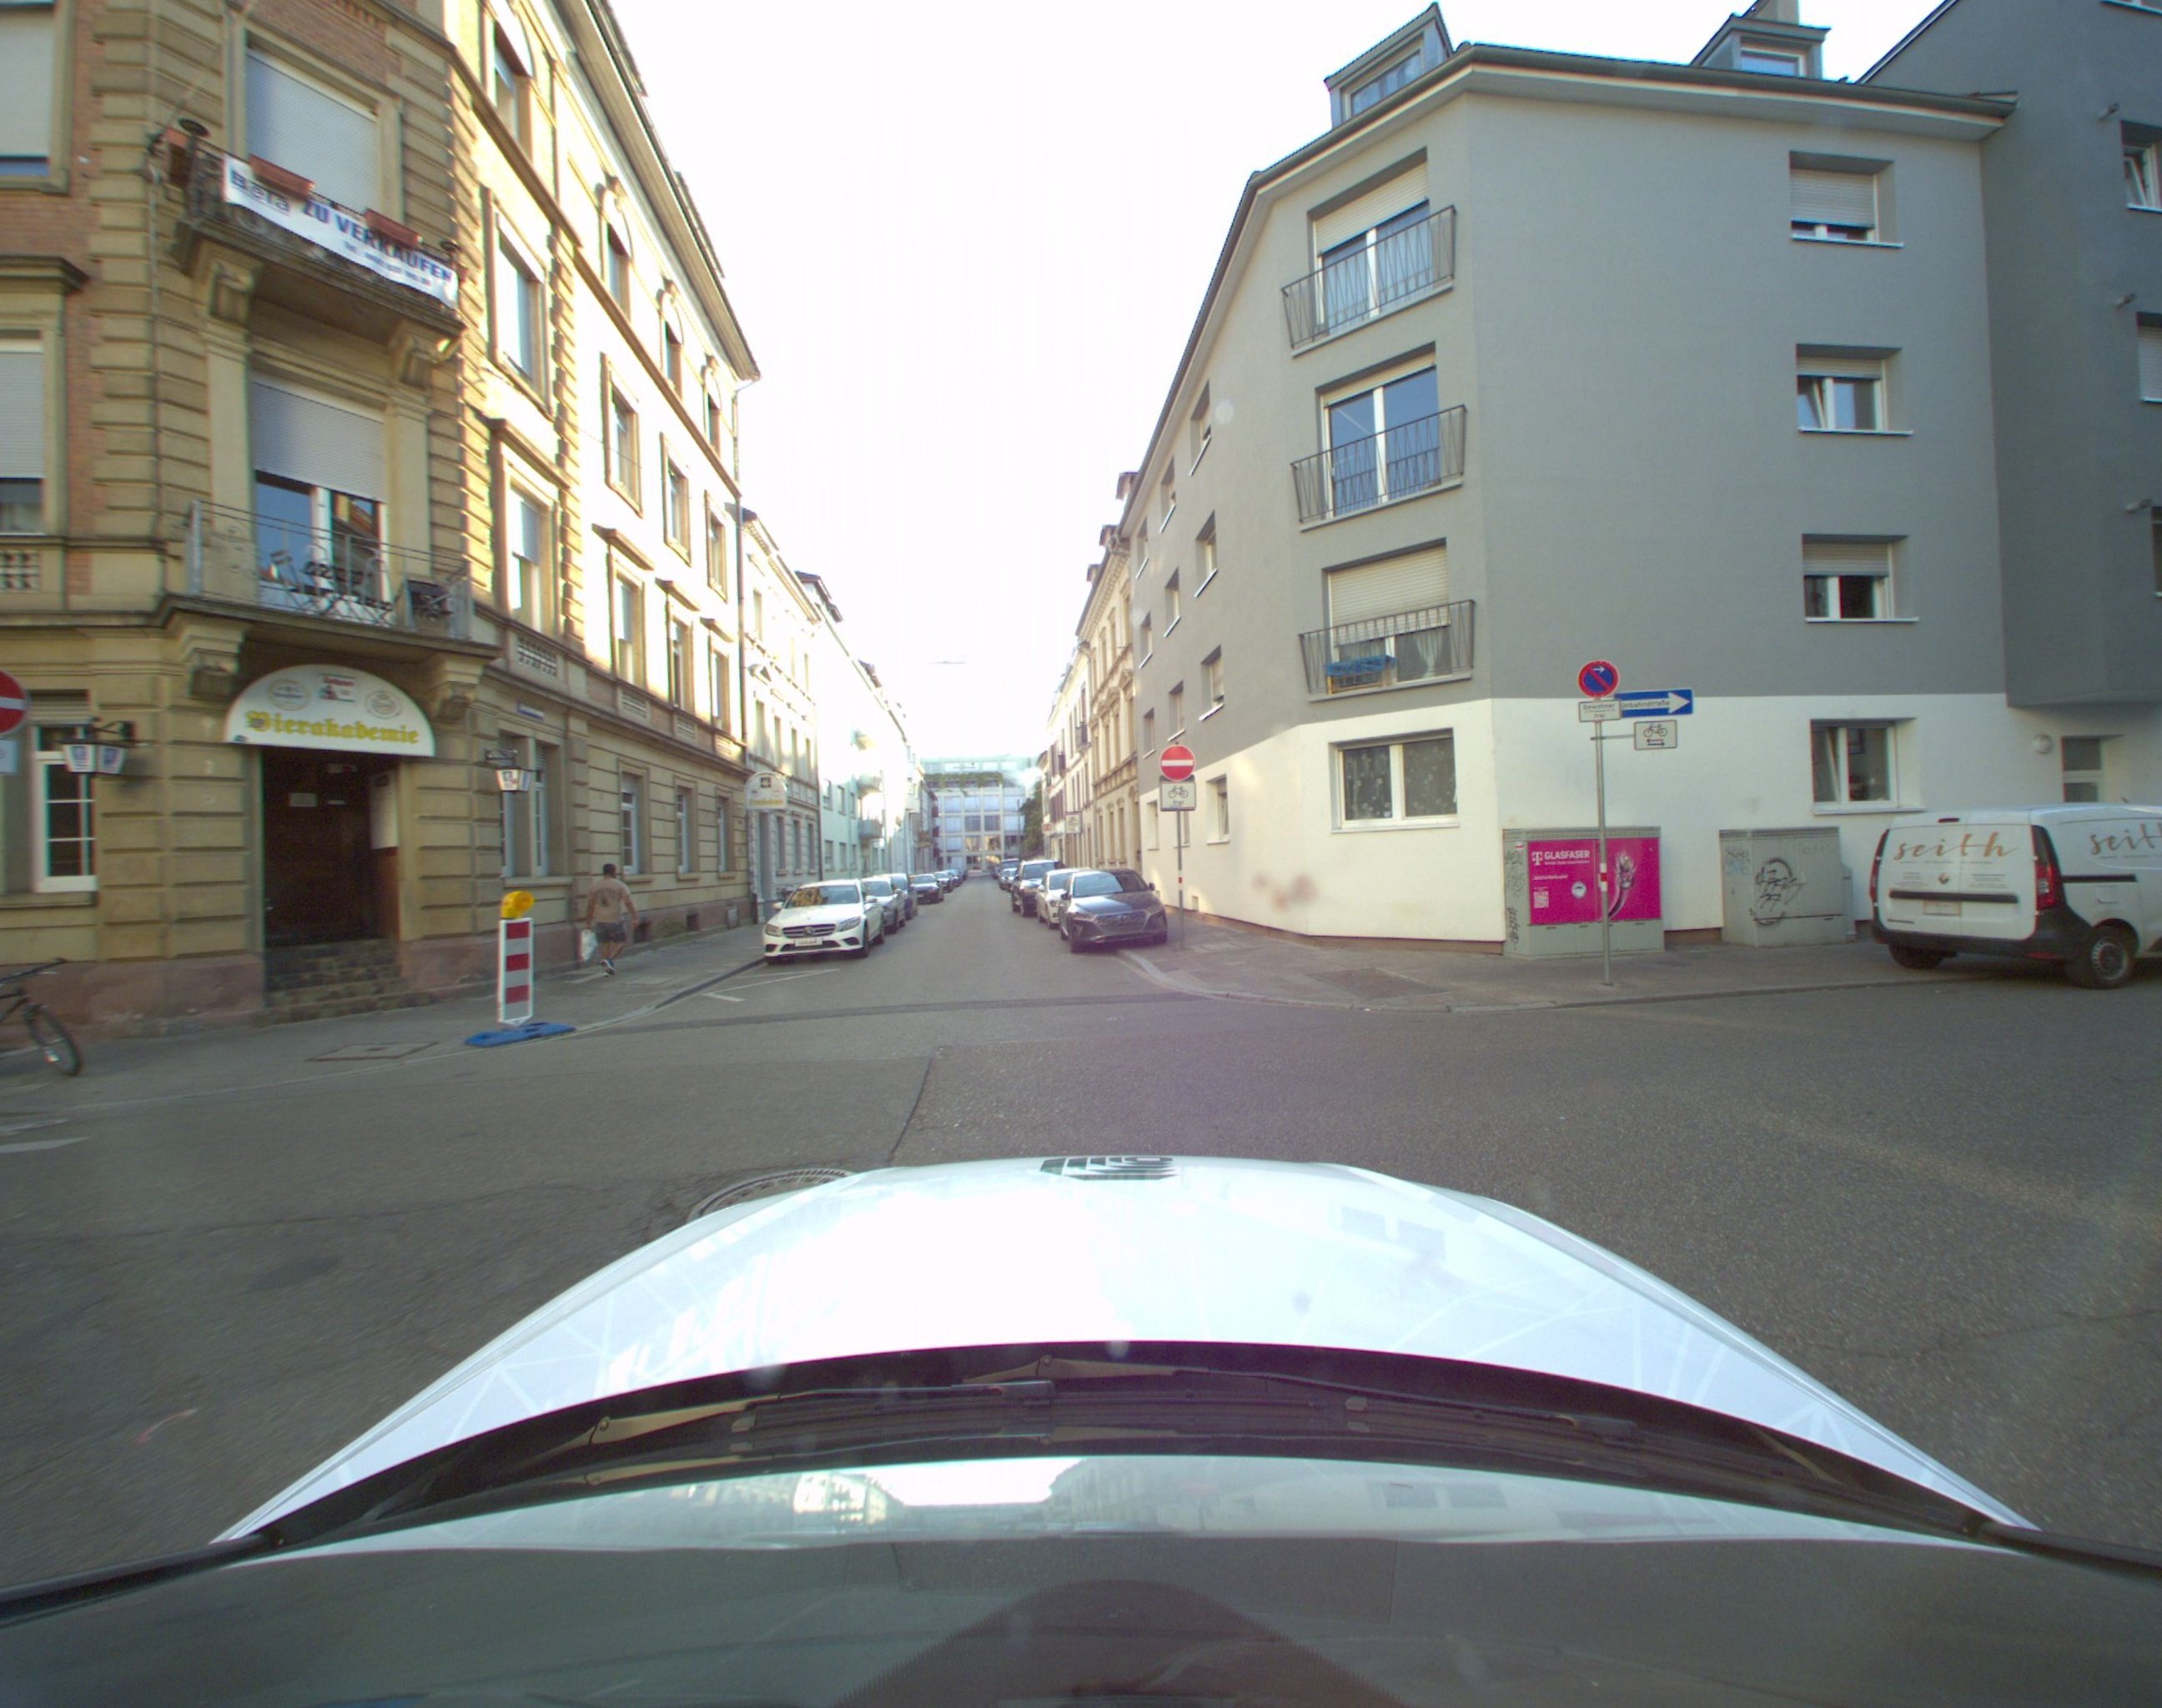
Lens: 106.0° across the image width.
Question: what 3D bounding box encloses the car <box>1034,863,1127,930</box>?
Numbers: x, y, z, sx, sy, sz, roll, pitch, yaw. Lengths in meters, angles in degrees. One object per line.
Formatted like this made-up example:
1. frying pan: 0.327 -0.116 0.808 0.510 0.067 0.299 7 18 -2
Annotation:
1. car: -0.113 1.050 21.837 1.962 1.557 3.879 -2 0 -7

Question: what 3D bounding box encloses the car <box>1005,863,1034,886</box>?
1. car: -4.799 1.548 62.707 1.992 1.700 3.990 -2 -1 -7

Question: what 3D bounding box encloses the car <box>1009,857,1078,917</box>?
1. car: -1.322 1.035 27.132 1.892 1.784 3.989 -2 0 -8

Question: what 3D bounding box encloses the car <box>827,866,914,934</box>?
1. car: -5.530 1.160 21.808 1.622 1.577 3.747 -2 0 -5

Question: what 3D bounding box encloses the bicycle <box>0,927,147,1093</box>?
1. bicycle: -9.469 1.353 7.016 1.758 1.275 0.658 -2 3 -11

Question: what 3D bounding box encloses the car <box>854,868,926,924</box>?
1. car: -6.359 1.363 27.472 1.783 1.659 3.809 -2 0 -5

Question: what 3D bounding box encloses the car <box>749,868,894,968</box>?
1. car: -5.040 1.143 16.471 1.993 1.564 4.492 -4 0 -9

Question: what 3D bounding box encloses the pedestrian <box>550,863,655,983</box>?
1. pedestrian: -7.393 1.031 12.634 0.978 1.742 1.017 -2 -1 1

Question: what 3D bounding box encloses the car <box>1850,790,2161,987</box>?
1. car: 10.983 0.276 8.774 4.168 1.814 1.632 -2 -1 -8

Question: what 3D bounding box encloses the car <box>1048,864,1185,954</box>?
1. car: 0.538 0.958 15.816 1.937 1.372 3.778 -4 0 -8

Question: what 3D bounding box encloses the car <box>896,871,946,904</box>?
1. car: -7.570 1.561 38.967 1.992 1.355 4.418 -2 0 -7

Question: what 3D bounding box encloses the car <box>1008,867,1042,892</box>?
1. car: -3.601 1.571 52.110 1.991 1.451 3.992 -2 0 -6

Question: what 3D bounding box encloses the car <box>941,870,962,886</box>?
1. car: -11.670 2.152 73.437 1.706 1.302 3.989 -2 0 -8

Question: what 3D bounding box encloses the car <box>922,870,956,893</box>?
1. car: -9.804 1.895 56.481 2.172 1.418 3.987 -2 0 -9

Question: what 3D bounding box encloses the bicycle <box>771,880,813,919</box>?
1. bicycle: -9.573 1.481 27.051 0.737 1.160 2.455 -2 -1 -7

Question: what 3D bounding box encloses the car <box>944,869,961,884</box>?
1. car: -12.545 2.166 79.485 1.585 1.410 3.379 -2 0 -9

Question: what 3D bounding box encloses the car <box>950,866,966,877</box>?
1. car: -16.560 2.342 109.497 1.993 1.309 3.870 -2 0 -9

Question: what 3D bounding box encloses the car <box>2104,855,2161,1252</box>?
1. car: 6.219 0.617 2.254 4.705 1.408 1.887 -2 -1 -4
